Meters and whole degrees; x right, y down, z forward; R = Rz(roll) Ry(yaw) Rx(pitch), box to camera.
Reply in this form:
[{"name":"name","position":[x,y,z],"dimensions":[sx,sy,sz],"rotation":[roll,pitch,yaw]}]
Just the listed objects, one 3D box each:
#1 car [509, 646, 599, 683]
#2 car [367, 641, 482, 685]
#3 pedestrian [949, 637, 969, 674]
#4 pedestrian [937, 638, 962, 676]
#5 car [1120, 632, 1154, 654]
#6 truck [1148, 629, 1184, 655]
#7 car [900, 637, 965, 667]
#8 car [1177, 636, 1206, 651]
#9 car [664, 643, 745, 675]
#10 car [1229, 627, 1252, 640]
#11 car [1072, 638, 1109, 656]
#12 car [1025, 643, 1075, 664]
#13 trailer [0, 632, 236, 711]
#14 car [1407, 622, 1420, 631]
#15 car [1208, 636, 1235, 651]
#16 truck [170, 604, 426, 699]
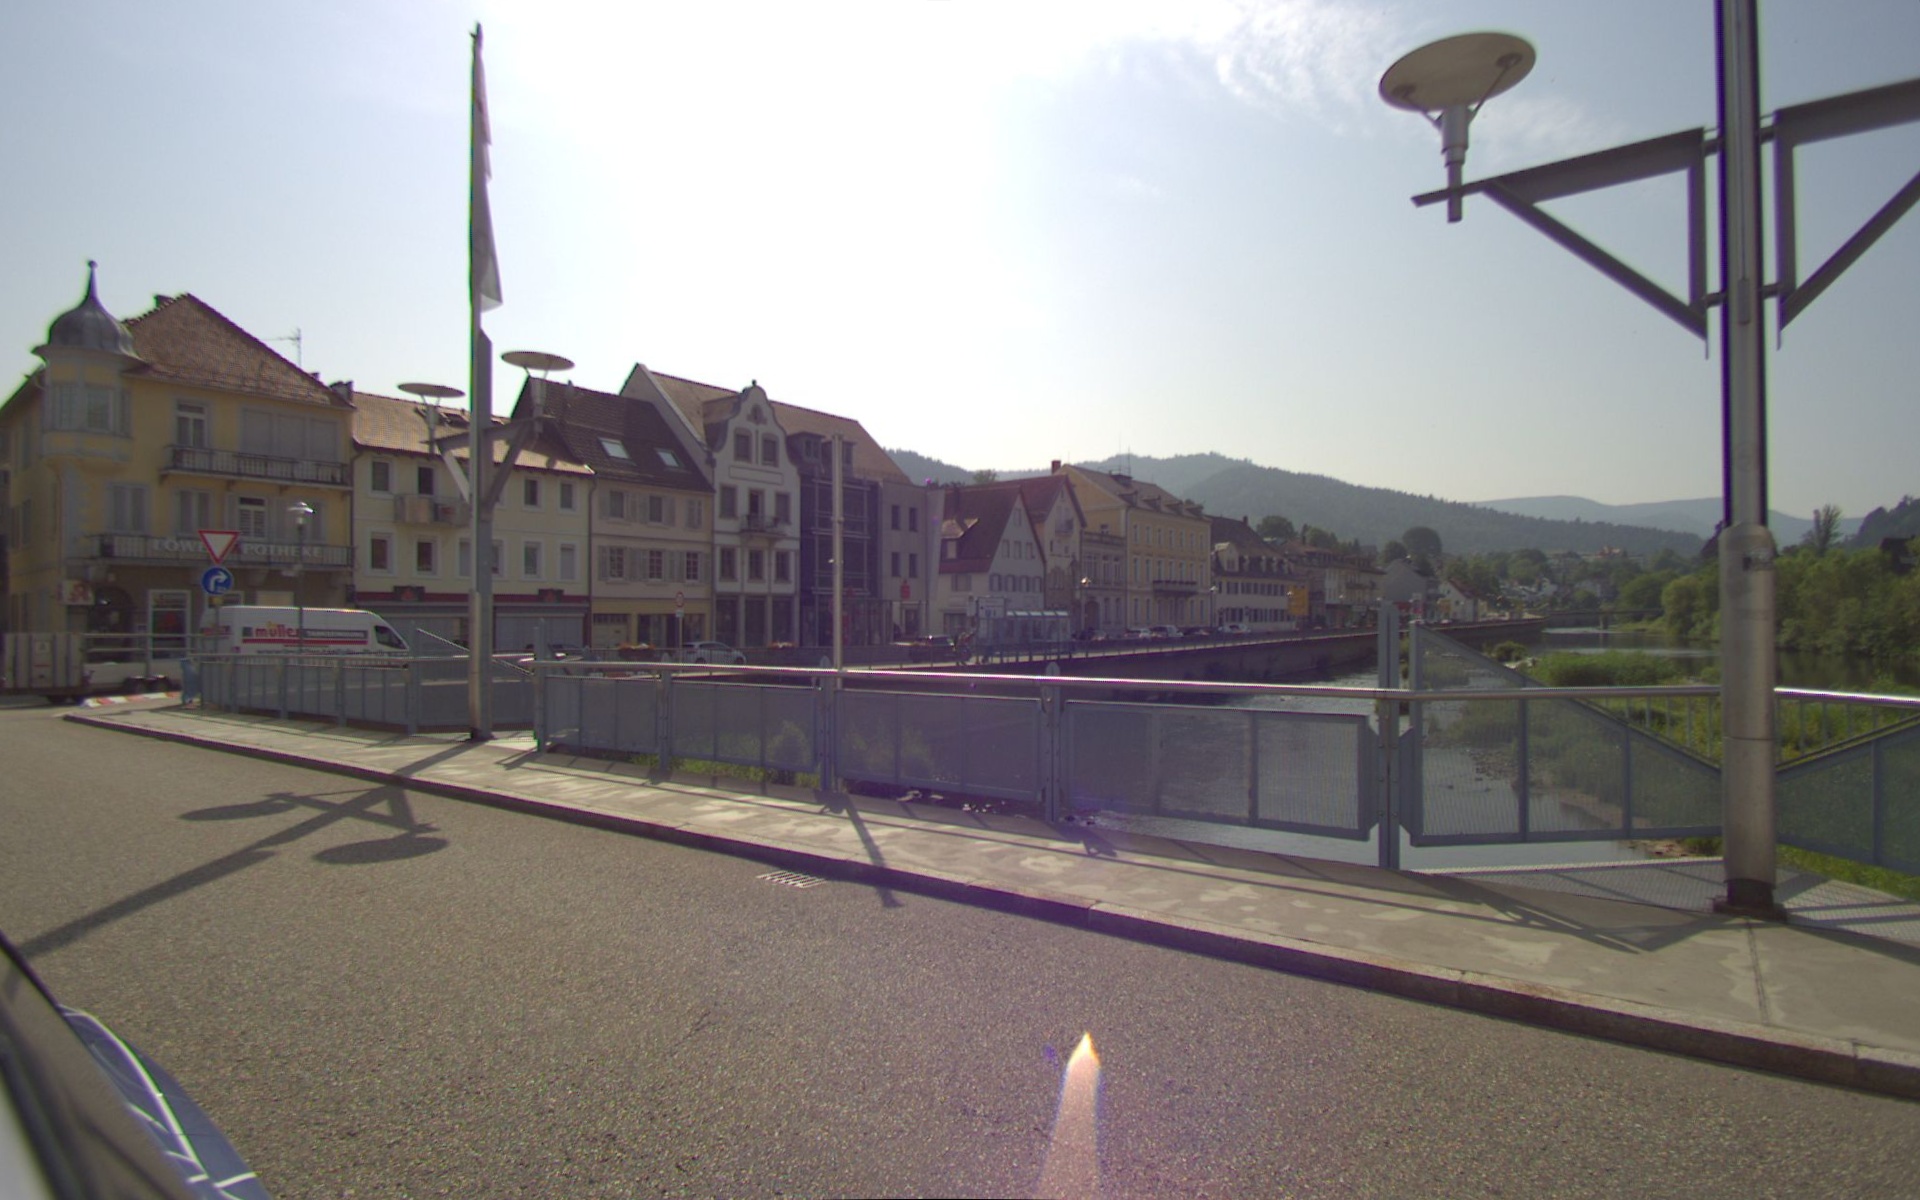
[{"name":"car","position":[-17.615,2.775,44.023],"dimensions":[1.748,1.459,3.238],"rotation":[-2,-2,34]},{"name":"car","position":[-20.829,2.418,39.440],"dimensions":[1.848,1.580,3.526],"rotation":[-2,-2,34]},{"name":"pedestrian","position":[-0.037,2.580,47.186],"dimensions":[0.791,1.719,0.485],"rotation":[-1,-2,38]},{"name":"pedestrian","position":[-0.463,2.598,46.688],"dimensions":[0.868,1.719,0.767],"rotation":[-1,-2,38]},{"name":"car","position":[16.116,3.890,92.199],"dimensions":[1.748,1.950,3.535],"rotation":[-2,-2,34]},{"name":"truck","position":[20.084,4.043,98.472],"dimensions":[1.748,2.487,4.606],"rotation":[-2,-2,34]},{"name":"car","position":[-1.533,2.926,57.443],"dimensions":[1.680,1.572,3.924],"rotation":[-2,-1,35]},{"name":"car","position":[23.577,4.409,103.034],"dimensions":[1.748,1.459,3.238],"rotation":[-2,-2,34]},{"name":"car","position":[-12.770,2.947,50.736],"dimensions":[1.748,1.459,3.750],"rotation":[-2,-2,34]},{"name":"car","position":[31.547,3.781,113.683],"dimensions":[1.515,1.459,3.238],"rotation":[-2,-2,34]},{"name":"car","position":[10.906,3.943,84.542],"dimensions":[1.748,1.459,3.238],"rotation":[-2,-2,34]},{"name":"car","position":[6.439,3.806,72.194],"dimensions":[1.752,1.367,4.150],"rotation":[-3,-2,35]},{"name":"trailer","position":[-22.387,1.822,26.993],"dimensions":[2.578,1.842,5.645],"rotation":[-1,-2,-6]},{"name":"car","position":[76.745,4.455,171.240],"dimensions":[1.515,1.459,3.238],"rotation":[-2,-2,34]},{"name":"car","position":[28.057,4.668,108.449],"dimensions":[1.748,1.459,3.238],"rotation":[-2,-2,34]},{"name":"truck","position":[-21.106,1.641,32.835],"dimensions":[2.096,2.720,7.083],"rotation":[-3,-3,21]}]
